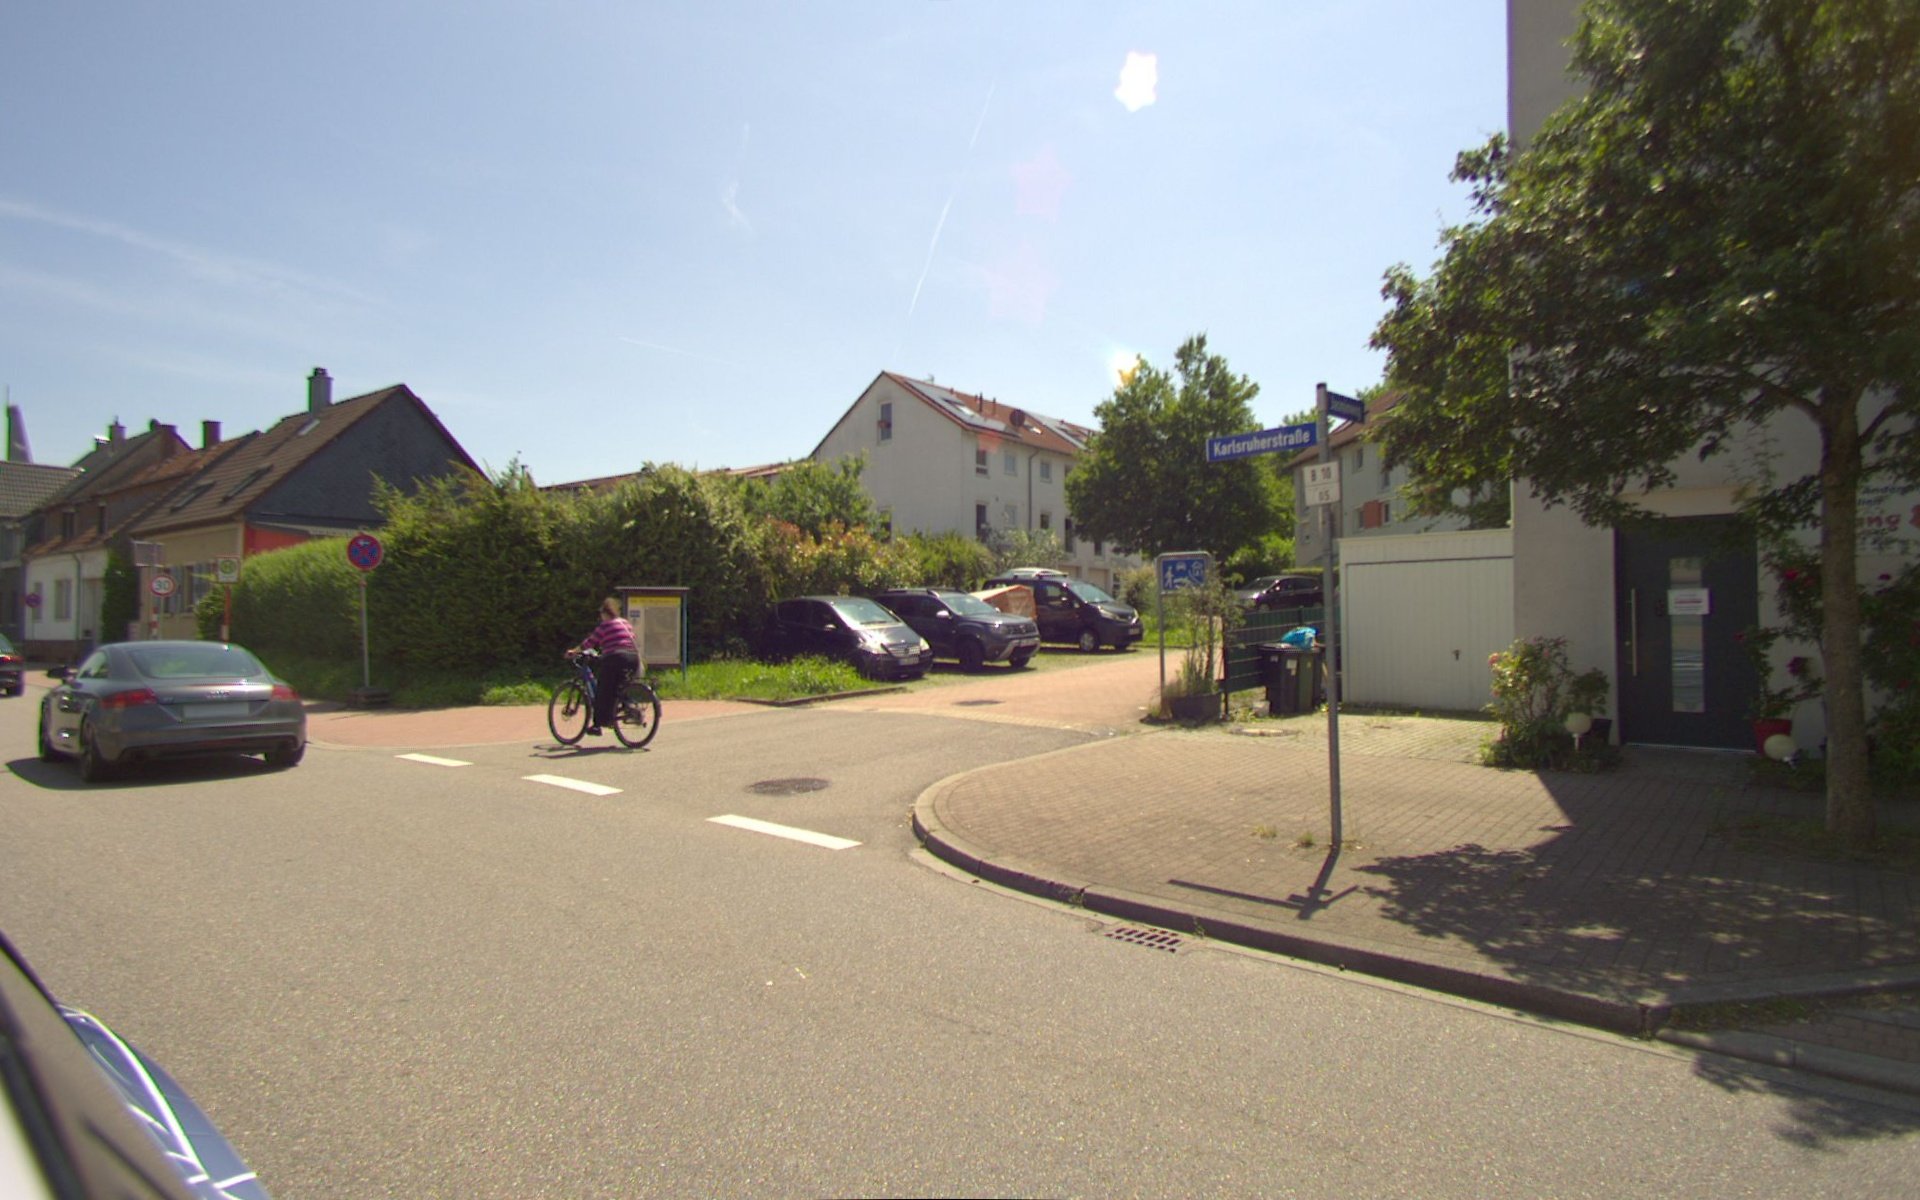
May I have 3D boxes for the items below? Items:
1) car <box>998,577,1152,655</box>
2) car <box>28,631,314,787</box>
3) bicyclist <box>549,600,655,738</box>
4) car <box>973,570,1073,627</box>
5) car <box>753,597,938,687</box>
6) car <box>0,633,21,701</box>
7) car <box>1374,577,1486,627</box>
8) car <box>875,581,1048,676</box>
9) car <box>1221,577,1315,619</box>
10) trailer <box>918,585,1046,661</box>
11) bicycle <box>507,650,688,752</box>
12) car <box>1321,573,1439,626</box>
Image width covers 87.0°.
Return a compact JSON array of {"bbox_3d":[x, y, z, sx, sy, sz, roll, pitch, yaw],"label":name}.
[{"bbox_3d":[2.838,0.394,25.380,3.552,1.794,1.605,-1,1,44],"label":"car"},{"bbox_3d":[-8.624,1.066,10.952,3.866,1.381,1.688,-2,-4,41],"label":"car"},{"bbox_3d":[-4.108,0.775,11.633,0.903,1.505,0.656,-2,1,22],"label":"bicyclist"},{"bbox_3d":[2.097,-0.072,32.939,1.419,1.747,3.594,-1,0,38],"label":"car"},{"bbox_3d":[-2.304,0.775,19.780,3.653,1.552,1.605,-1,1,44],"label":"car"},{"bbox_3d":[-23.136,1.501,23.254,4.691,1.471,1.712,-2,-3,40],"label":"car"},{"bbox_3d":[14.861,0.048,31.944,3.937,1.439,1.695,-2,0,-41],"label":"car"},{"bbox_3d":[-0.022,0.572,21.416,3.511,1.793,1.605,-1,1,44],"label":"car"},{"bbox_3d":[11.587,-0.077,38.009,3.580,1.463,1.595,-1,-1,-38],"label":"car"},{"bbox_3d":[0.523,0.545,24.217,2.688,1.676,1.413,-2,2,37],"label":"trailer"},{"bbox_3d":[-4.189,1.150,11.680,2.013,1.064,0.668,-2,0,23],"label":"bicycle"},{"bbox_3d":[14.140,-0.051,34.015,3.933,1.635,1.754,-2,1,-33],"label":"car"}]
